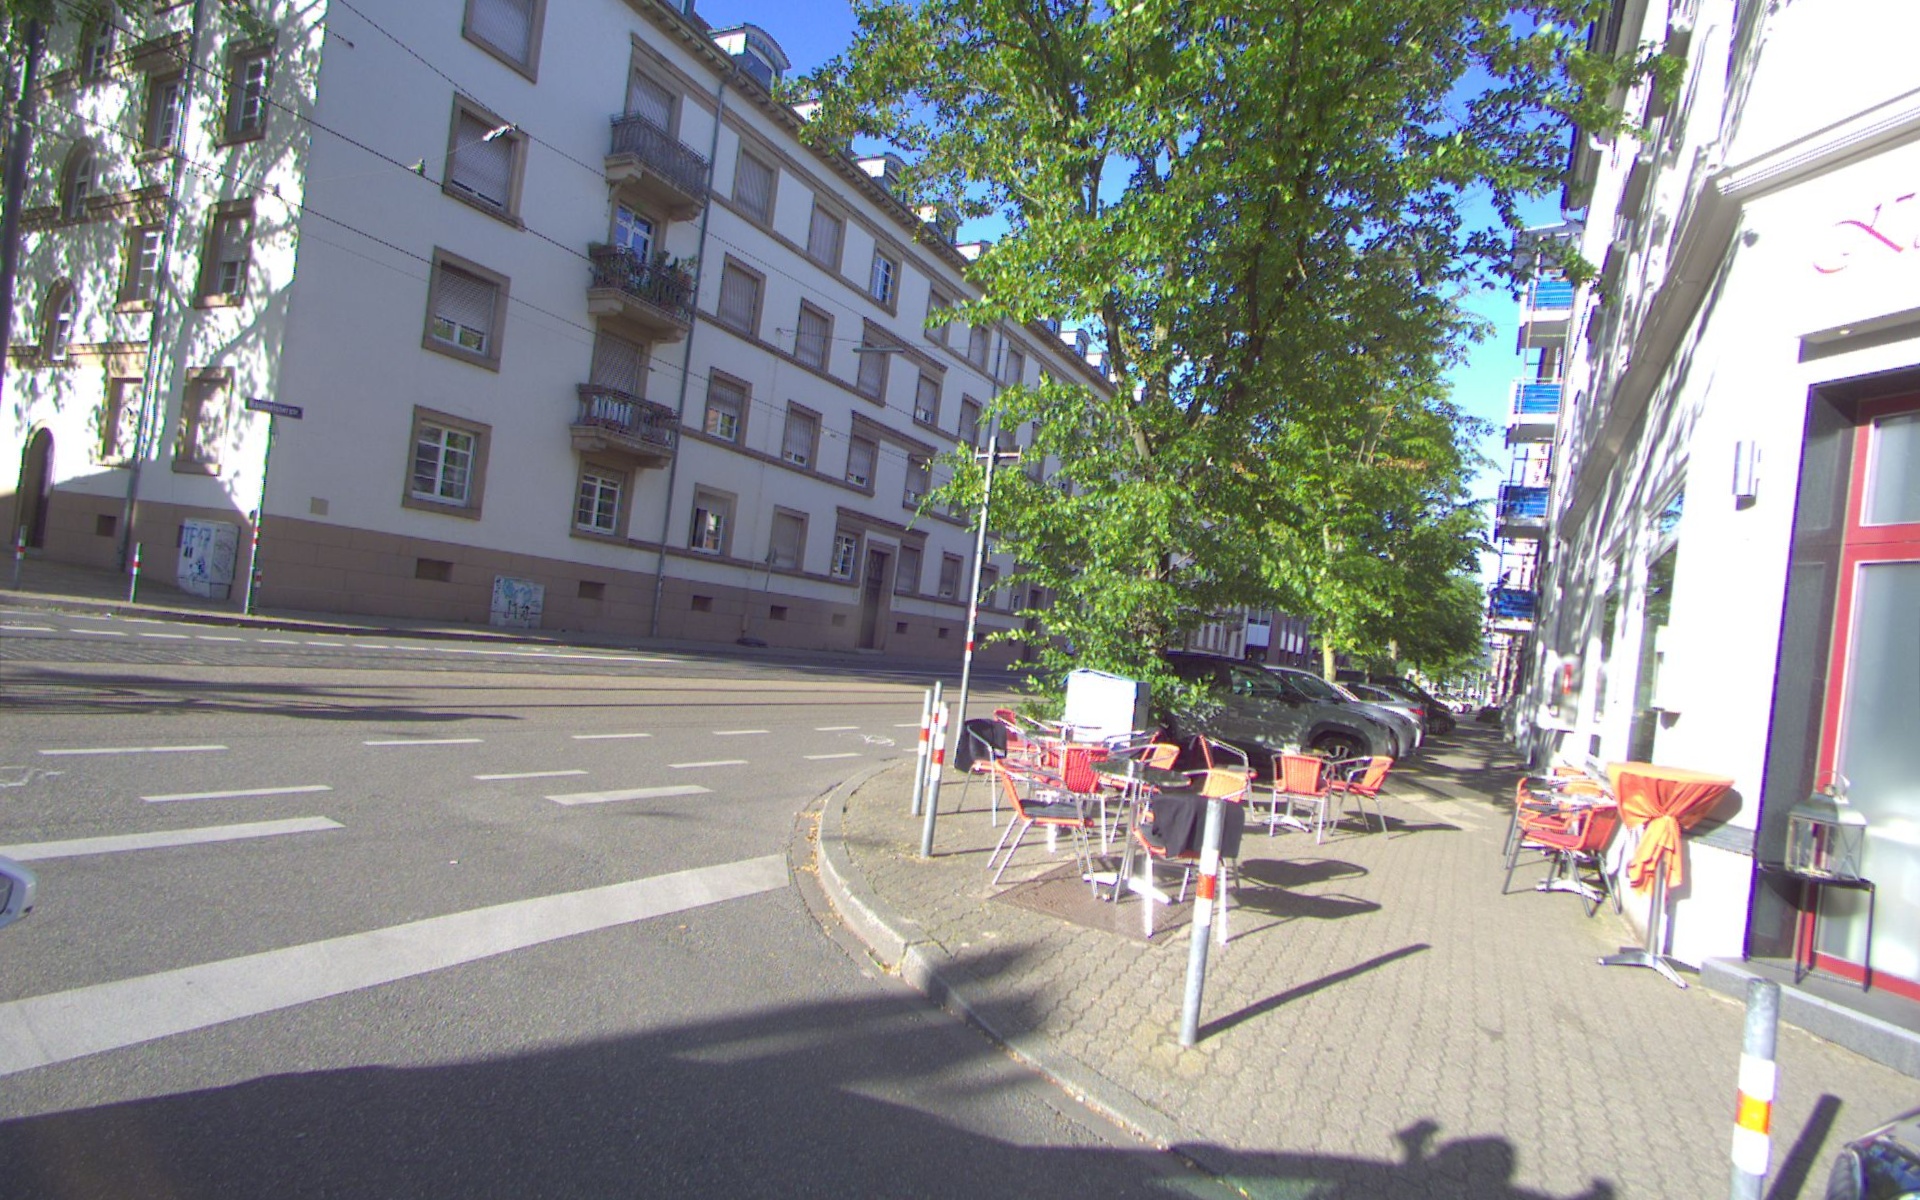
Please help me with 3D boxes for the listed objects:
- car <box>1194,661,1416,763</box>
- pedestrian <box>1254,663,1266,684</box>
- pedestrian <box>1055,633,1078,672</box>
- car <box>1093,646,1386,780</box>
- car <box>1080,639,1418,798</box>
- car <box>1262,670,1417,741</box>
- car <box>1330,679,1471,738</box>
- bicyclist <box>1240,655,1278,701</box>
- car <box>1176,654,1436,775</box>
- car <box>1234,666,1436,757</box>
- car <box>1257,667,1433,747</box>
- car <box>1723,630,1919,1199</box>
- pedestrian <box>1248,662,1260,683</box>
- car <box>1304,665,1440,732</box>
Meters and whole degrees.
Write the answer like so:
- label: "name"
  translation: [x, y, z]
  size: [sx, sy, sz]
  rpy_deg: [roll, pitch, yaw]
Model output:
- label: "car"
  translation: [7.009, 2.255, 20.792]
  size: [4.057, 1.506, 1.621]
  rpy_deg: [6, 0, 15]
- label: "pedestrian"
  translation: [27.480, 6.745, 92.193]
  size: [0.725, 1.859, 0.696]
  rpy_deg: [8, 0, 27]
- label: "pedestrian"
  translation: [5.349, 2.630, 50.655]
  size: [0.725, 1.859, 0.696]
  rpy_deg: [8, 0, 27]
- label: "car"
  translation: [4.342, 1.751, 15.986]
  size: [4.061, 1.575, 1.619]
  rpy_deg: [6, 0, -4]
- label: "car"
  translation: [3.781, 1.537, 13.713]
  size: [4.057, 1.575, 1.621]
  rpy_deg: [6, 0, 4]
- label: "car"
  translation: [11.108, 3.052, 29.597]
  size: [4.059, 1.506, 1.620]
  rpy_deg: [6, 0, 21]
- label: "car"
  translation: [15.200, 3.731, 34.799]
  size: [4.061, 1.506, 1.619]
  rpy_deg: [6, 0, -4]
- label: "bicyclist"
  translation: [10.490, 2.737, 35.322]
  size: [0.886, 1.471, 1.262]
  rpy_deg: [7, -1, 28]
- label: "car"
  translation: [6.079, 1.998, 18.086]
  size: [4.056, 1.575, 1.621]
  rpy_deg: [6, 0, 9]
- label: "car"
  translation: [8.481, 2.498, 23.090]
  size: [4.057, 1.506, 1.621]
  rpy_deg: [6, 0, 14]
- label: "car"
  translation: [10.042, 2.739, 26.367]
  size: [4.060, 1.506, 1.620]
  rpy_deg: [6, 0, 23]
- label: "car"
  translation: [3.058, 1.109, 0.456]
  size: [4.129, 1.681, 1.764]
  rpy_deg: [7, -3, 34]
- label: "pedestrian"
  translation: [27.193, 6.705, 93.176]
  size: [0.725, 1.859, 0.696]
  rpy_deg: [8, 0, 27]
- label: "car"
  translation: [15.024, 3.581, 36.802]
  size: [4.061, 1.910, 1.888]
  rpy_deg: [6, 0, -4]
